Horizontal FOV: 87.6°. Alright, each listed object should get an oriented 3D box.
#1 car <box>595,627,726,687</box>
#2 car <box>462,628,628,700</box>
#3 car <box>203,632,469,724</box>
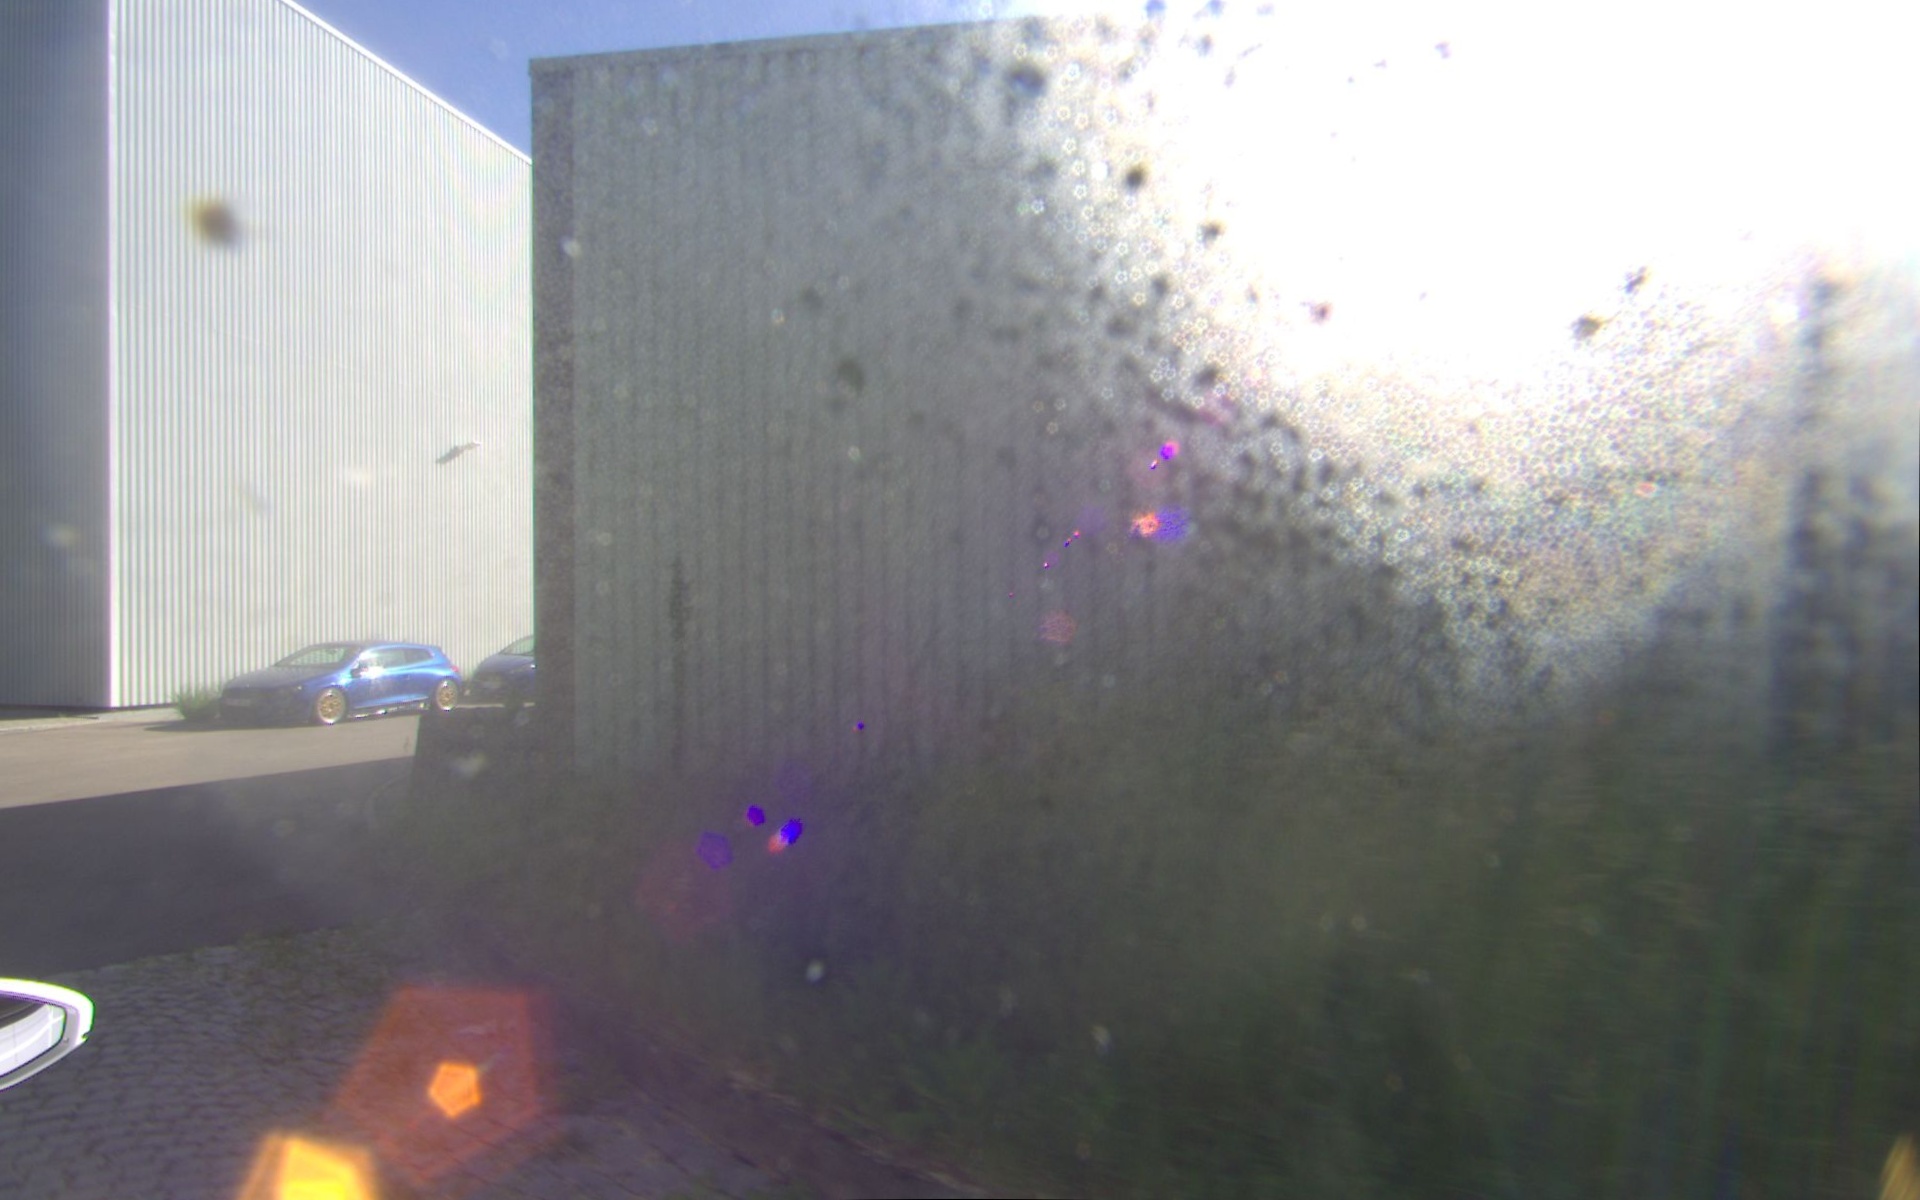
[{"bbox_3d":[-8.239,1.523,27.930,1.625,1.465,3.874,3,-1,16],"label":"car"},{"bbox_3d":[-9.481,1.407,23.196,1.594,1.466,3.762,1,-1,14],"label":"car"},{"bbox_3d":[-10.871,1.290,17.796,1.643,1.367,3.951,1,-1,15],"label":"car"}]
